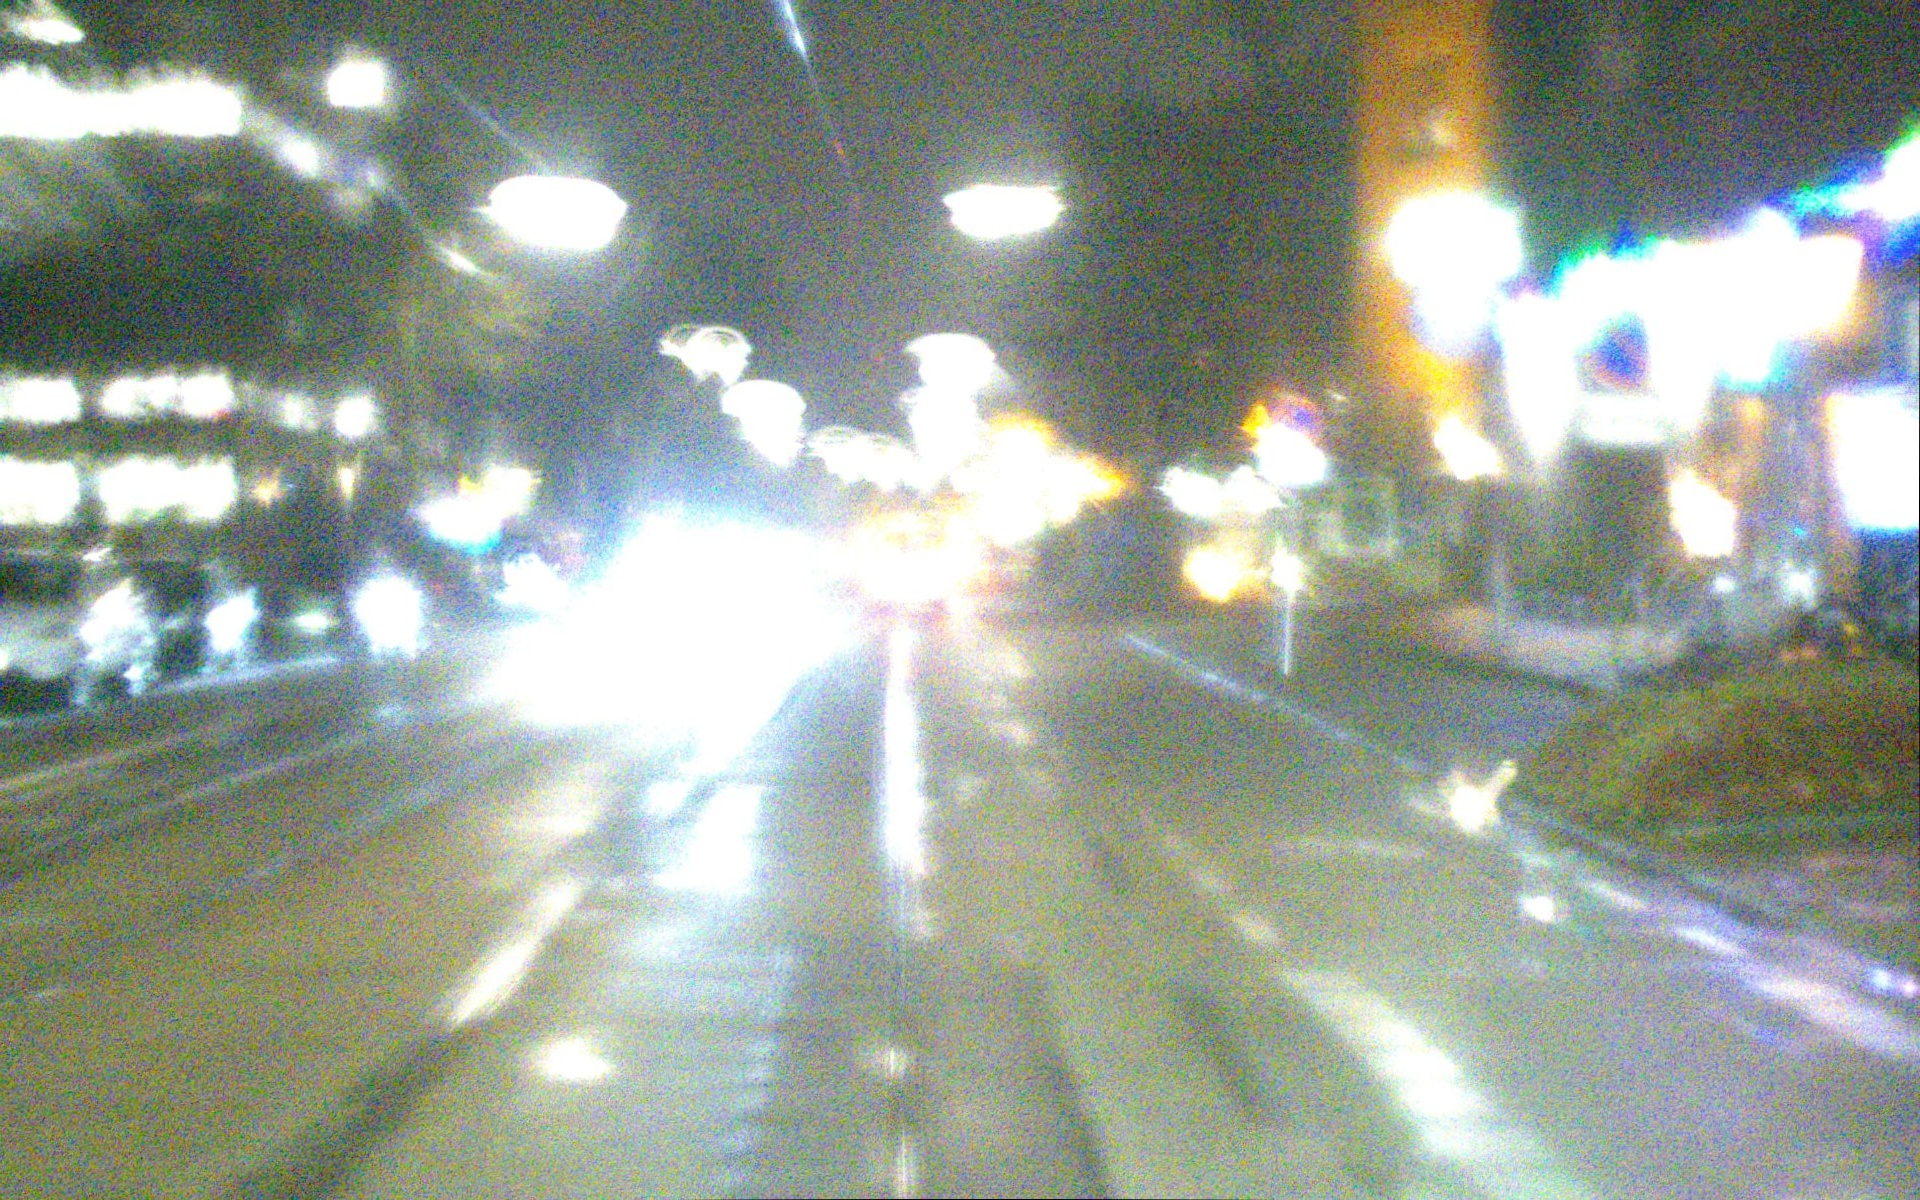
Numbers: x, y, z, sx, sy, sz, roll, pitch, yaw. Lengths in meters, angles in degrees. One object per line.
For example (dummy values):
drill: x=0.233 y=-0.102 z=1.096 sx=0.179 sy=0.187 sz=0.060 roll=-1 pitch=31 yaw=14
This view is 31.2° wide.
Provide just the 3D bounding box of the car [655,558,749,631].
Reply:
car: x=-5.573 y=-0.140 z=74.635 sx=1.776 sy=1.512 sz=4.051 roll=0 pitch=1 yaw=-1

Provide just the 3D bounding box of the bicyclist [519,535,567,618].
bicyclist: x=-8.428 y=-0.474 z=69.556 sx=0.782 sy=1.650 sz=1.206 roll=-2 pitch=0 yaw=-1

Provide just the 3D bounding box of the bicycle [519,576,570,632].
bicycle: x=-8.409 y=0.071 z=69.557 sx=0.782 sy=1.078 sz=1.918 roll=-2 pitch=0 yaw=-1

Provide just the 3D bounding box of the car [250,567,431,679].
car: x=-9.862 y=0.331 z=55.040 sx=1.969 sy=1.650 sz=4.601 roll=2 pitch=0 yaw=0

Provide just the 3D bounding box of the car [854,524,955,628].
car: x=-1.327 y=-0.566 z=79.894 sx=2.244 sy=2.353 sz=4.394 roll=0 pitch=0 yaw=-2

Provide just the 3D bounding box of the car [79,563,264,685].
car: x=-9.983 y=0.268 z=43.767 sx=1.690 sy=1.417 sz=3.915 roll=-1 pitch=1 yaw=-4

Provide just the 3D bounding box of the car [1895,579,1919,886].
car: x=6.992 y=0.669 z=17.378 sx=4.092 sy=1.532 sz=1.961 roll=0 pitch=0 yaw=-26

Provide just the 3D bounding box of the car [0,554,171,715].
car: x=-9.945 y=0.325 z=36.948 sx=1.983 sy=1.625 sz=4.517 roll=0 pitch=0 yaw=-1

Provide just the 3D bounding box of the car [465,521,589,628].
car: x=-10.829 y=-0.694 z=86.395 sx=2.185 sy=2.583 sz=6.392 roll=0 pitch=1 yaw=1
